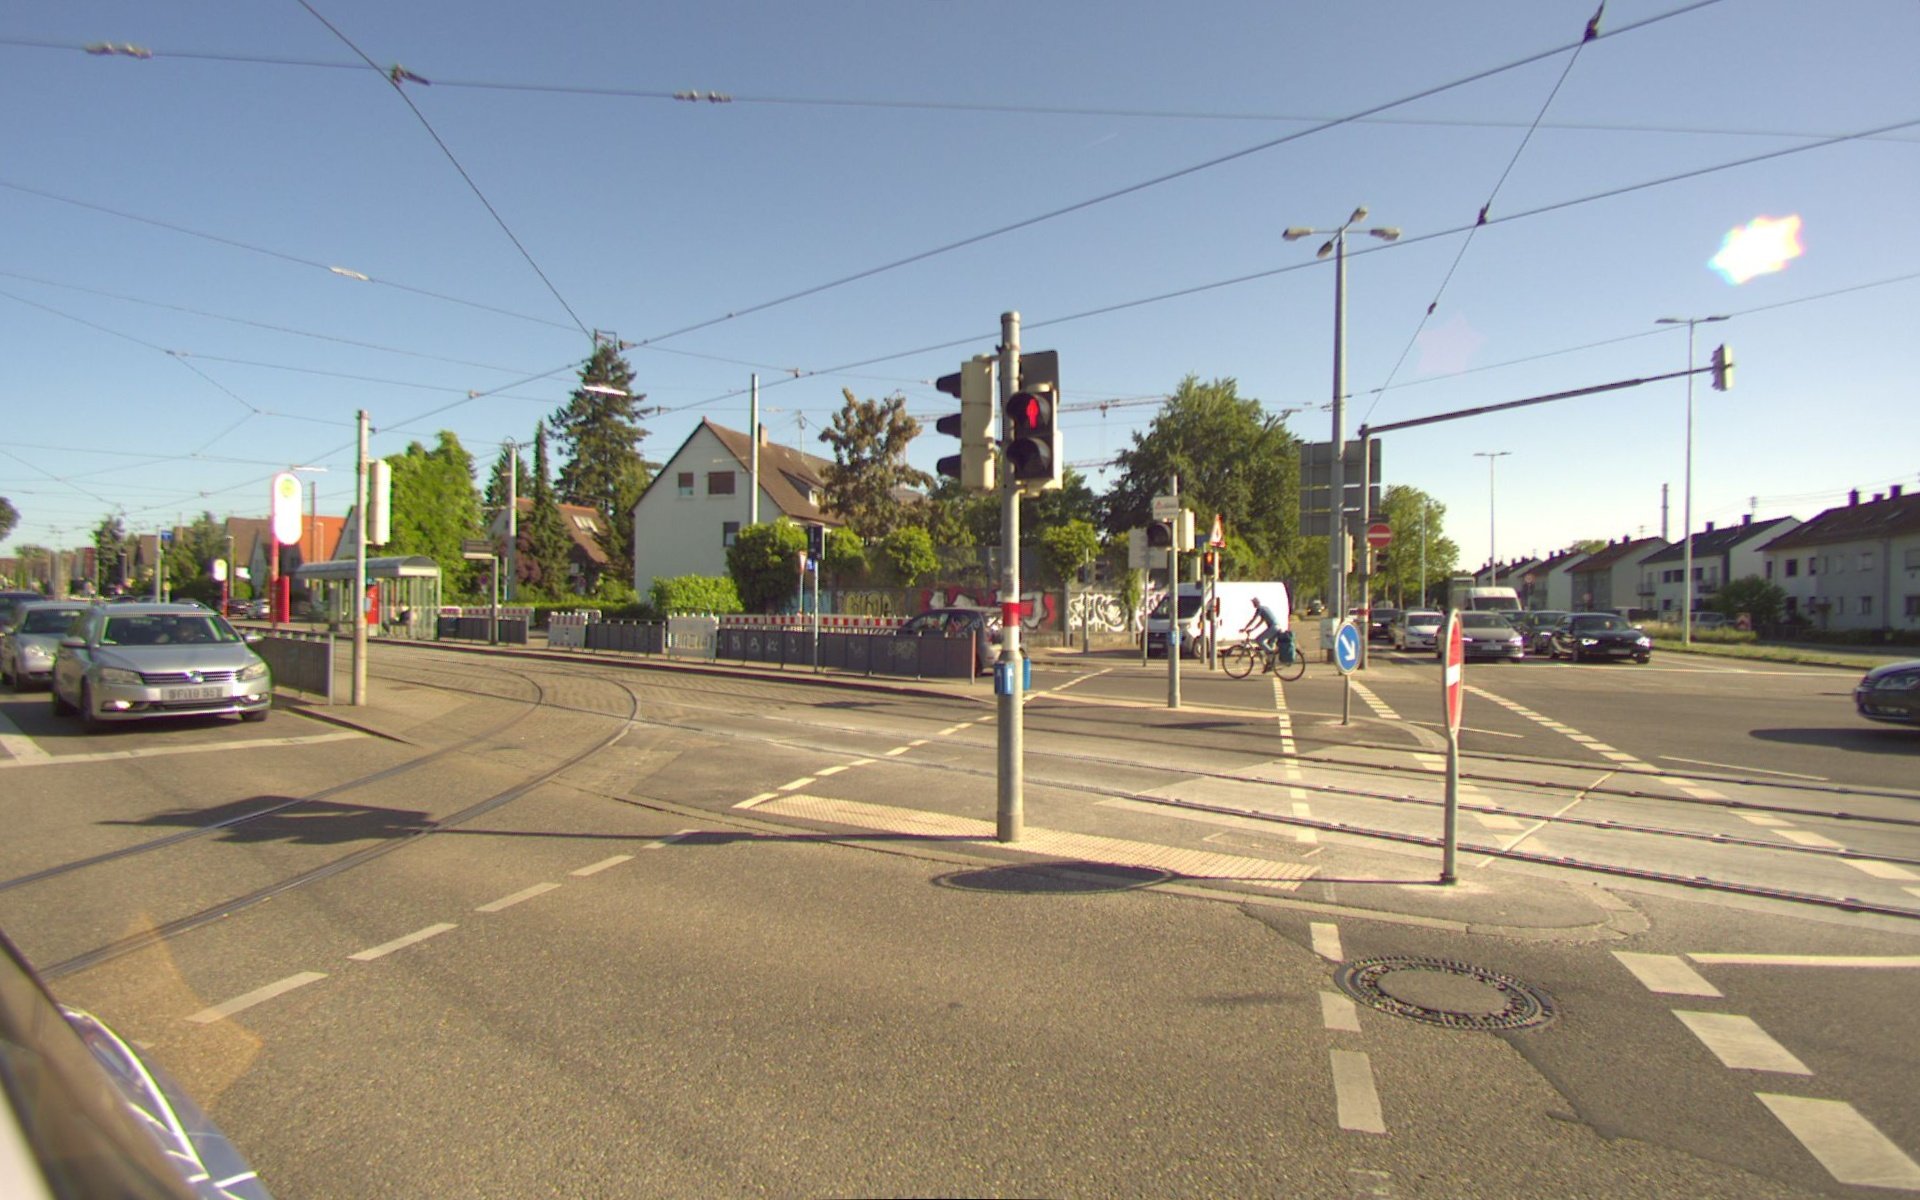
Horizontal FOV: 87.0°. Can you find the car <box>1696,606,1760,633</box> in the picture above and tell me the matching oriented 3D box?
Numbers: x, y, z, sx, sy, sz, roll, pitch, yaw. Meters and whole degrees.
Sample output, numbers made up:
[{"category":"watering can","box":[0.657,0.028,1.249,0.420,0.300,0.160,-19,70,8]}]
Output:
[{"category":"car","box":[50.809,1.280,67.040,1.982,1.775,3.979,0,-1,16]}]

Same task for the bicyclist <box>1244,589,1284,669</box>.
[{"category":"bicyclist","box":[6.345,0.597,21.113,0.648,1.620,0.484,-1,-1,42]}]

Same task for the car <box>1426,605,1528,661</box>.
[{"category":"car","box":[14.924,0.909,29.438,1.657,1.488,4.614,0,-1,15]}]

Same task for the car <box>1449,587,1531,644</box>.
[{"category":"car","box":[23.760,0.693,45.634,2.162,2.429,5.889,0,-1,17]}]

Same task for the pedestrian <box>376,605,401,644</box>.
[{"category":"pedestrian","box":[-21.305,0.911,37.748,0.711,1.425,0.615,-1,-1,41]}]

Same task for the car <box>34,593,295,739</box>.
[{"category":"car","box":[-10.207,0.721,12.865,4.420,1.539,1.857,0,-1,42]}]

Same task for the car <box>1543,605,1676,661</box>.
[{"category":"car","box":[18.250,0.883,28.687,1.920,1.477,4.228,0,-1,15]}]

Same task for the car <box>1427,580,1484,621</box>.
[{"category":"car","box":[25.171,0.052,51.501,1.791,2.029,3.981,0,-1,14]}]

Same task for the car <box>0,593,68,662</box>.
[{"category":"car","box":[-25.160,0.694,26.738,4.299,1.709,1.861,0,-1,42]}]

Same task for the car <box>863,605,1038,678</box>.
[{"category":"car","box":[-0.259,0.851,22.271,3.703,1.469,1.665,0,-1,42]}]

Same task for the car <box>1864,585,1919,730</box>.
[{"category":"car","box":[12.758,0.633,10.658,4.687,1.608,1.796,0,-1,38]}]

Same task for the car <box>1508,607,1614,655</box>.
[{"category":"car","box":[20.031,0.998,33.937,1.920,1.477,4.238,-1,-1,15]}]

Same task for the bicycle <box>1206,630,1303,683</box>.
[{"category":"bicycle","box":[6.168,1.166,21.279,1.948,1.050,0.502,-1,-1,43]}]

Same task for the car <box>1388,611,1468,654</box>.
[{"category":"car","box":[17.042,1.151,37.063,1.920,1.477,4.345,0,-1,15]}]

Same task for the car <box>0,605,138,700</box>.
[{"category":"car","box":[-15.516,0.833,17.462,3.413,1.479,1.564,0,-1,42]}]

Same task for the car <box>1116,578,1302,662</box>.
[{"category":"car","box":[8.208,0.648,32.898,6.761,2.476,2.353,1,-1,-40]}]

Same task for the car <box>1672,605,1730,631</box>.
[{"category":"car","box":[52.362,1.234,71.588,1.982,1.775,3.979,0,-1,16]}]

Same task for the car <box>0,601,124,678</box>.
[{"category":"car","box":[-20.070,0.821,22.367,4.192,1.546,1.732,0,-1,40]}]

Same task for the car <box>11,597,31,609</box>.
[{"category":"car","box":[-144.642,0.479,155.841,4.001,1.785,1.971,0,-1,44]}]

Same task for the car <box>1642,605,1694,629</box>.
[{"category":"car","box":[54.042,1.285,77.327,1.982,1.775,3.979,0,-1,16]}]

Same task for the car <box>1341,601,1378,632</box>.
[{"category":"car","box":[27.462,1.126,69.688,1.983,2.029,3.978,0,-1,17]}]
